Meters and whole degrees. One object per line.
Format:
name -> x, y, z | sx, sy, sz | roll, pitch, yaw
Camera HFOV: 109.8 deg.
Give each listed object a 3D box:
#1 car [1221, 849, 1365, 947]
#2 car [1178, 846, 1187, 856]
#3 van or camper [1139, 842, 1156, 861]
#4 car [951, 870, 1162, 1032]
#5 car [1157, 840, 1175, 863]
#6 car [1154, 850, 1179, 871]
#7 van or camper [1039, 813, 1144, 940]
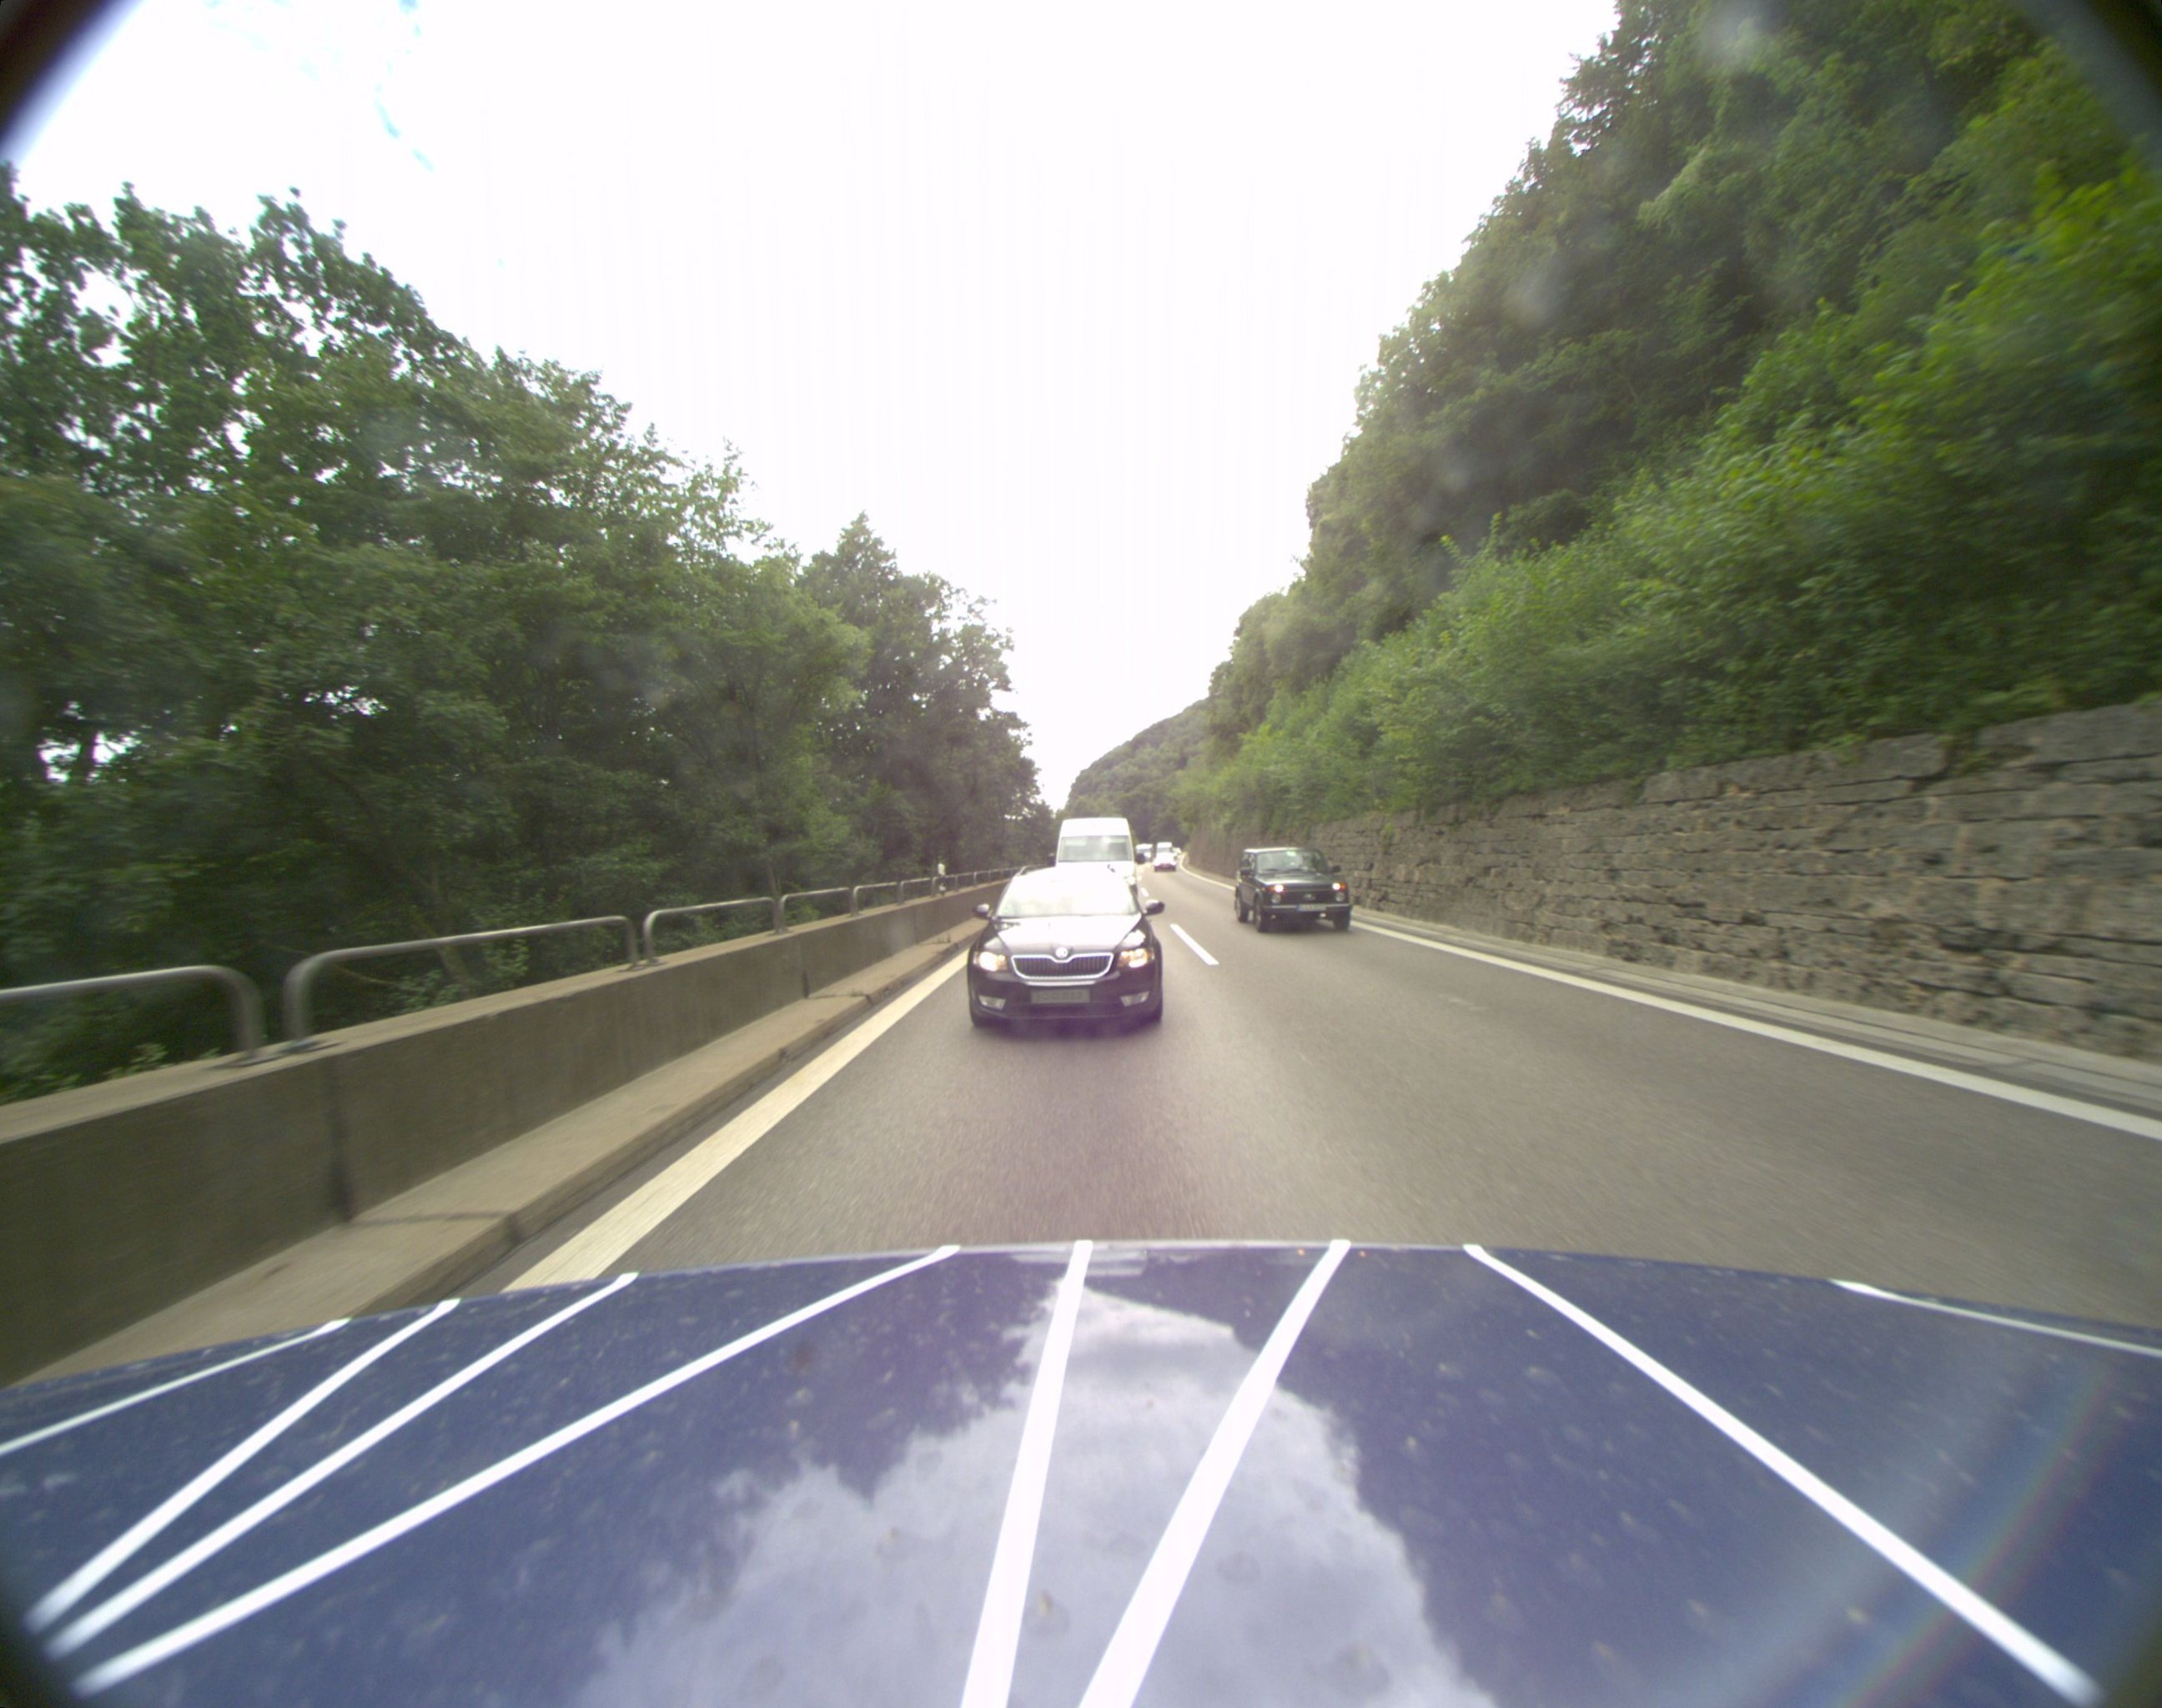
car -> 4.193, 0.769, 15.807 | 1.812, 1.646, 4.583 | -3, 0, 2
car -> 25.783, -0.707, 193.117 | 1.974, 2.545, 4.587 | -2, 0, 11
van or camper -> 10.054, -0.367, 114.458 | 2.269, 2.527, 5.913 | -4, 1, 6
car -> -0.129, 1.002, 9.906 | 1.998, 1.389, 5.009 | -3, 0, 3
car -> 10.205, -0.310, 90.891 | 1.975, 2.628, 4.585 | -2, 0, 7
car -> 7.112, 0.501, 63.563 | 1.812, 1.646, 4.584 | -3, 0, 4
van or camper -> 0.384, 0.469, 19.145 | 2.081, 2.575, 5.913 | -4, 0, 3
